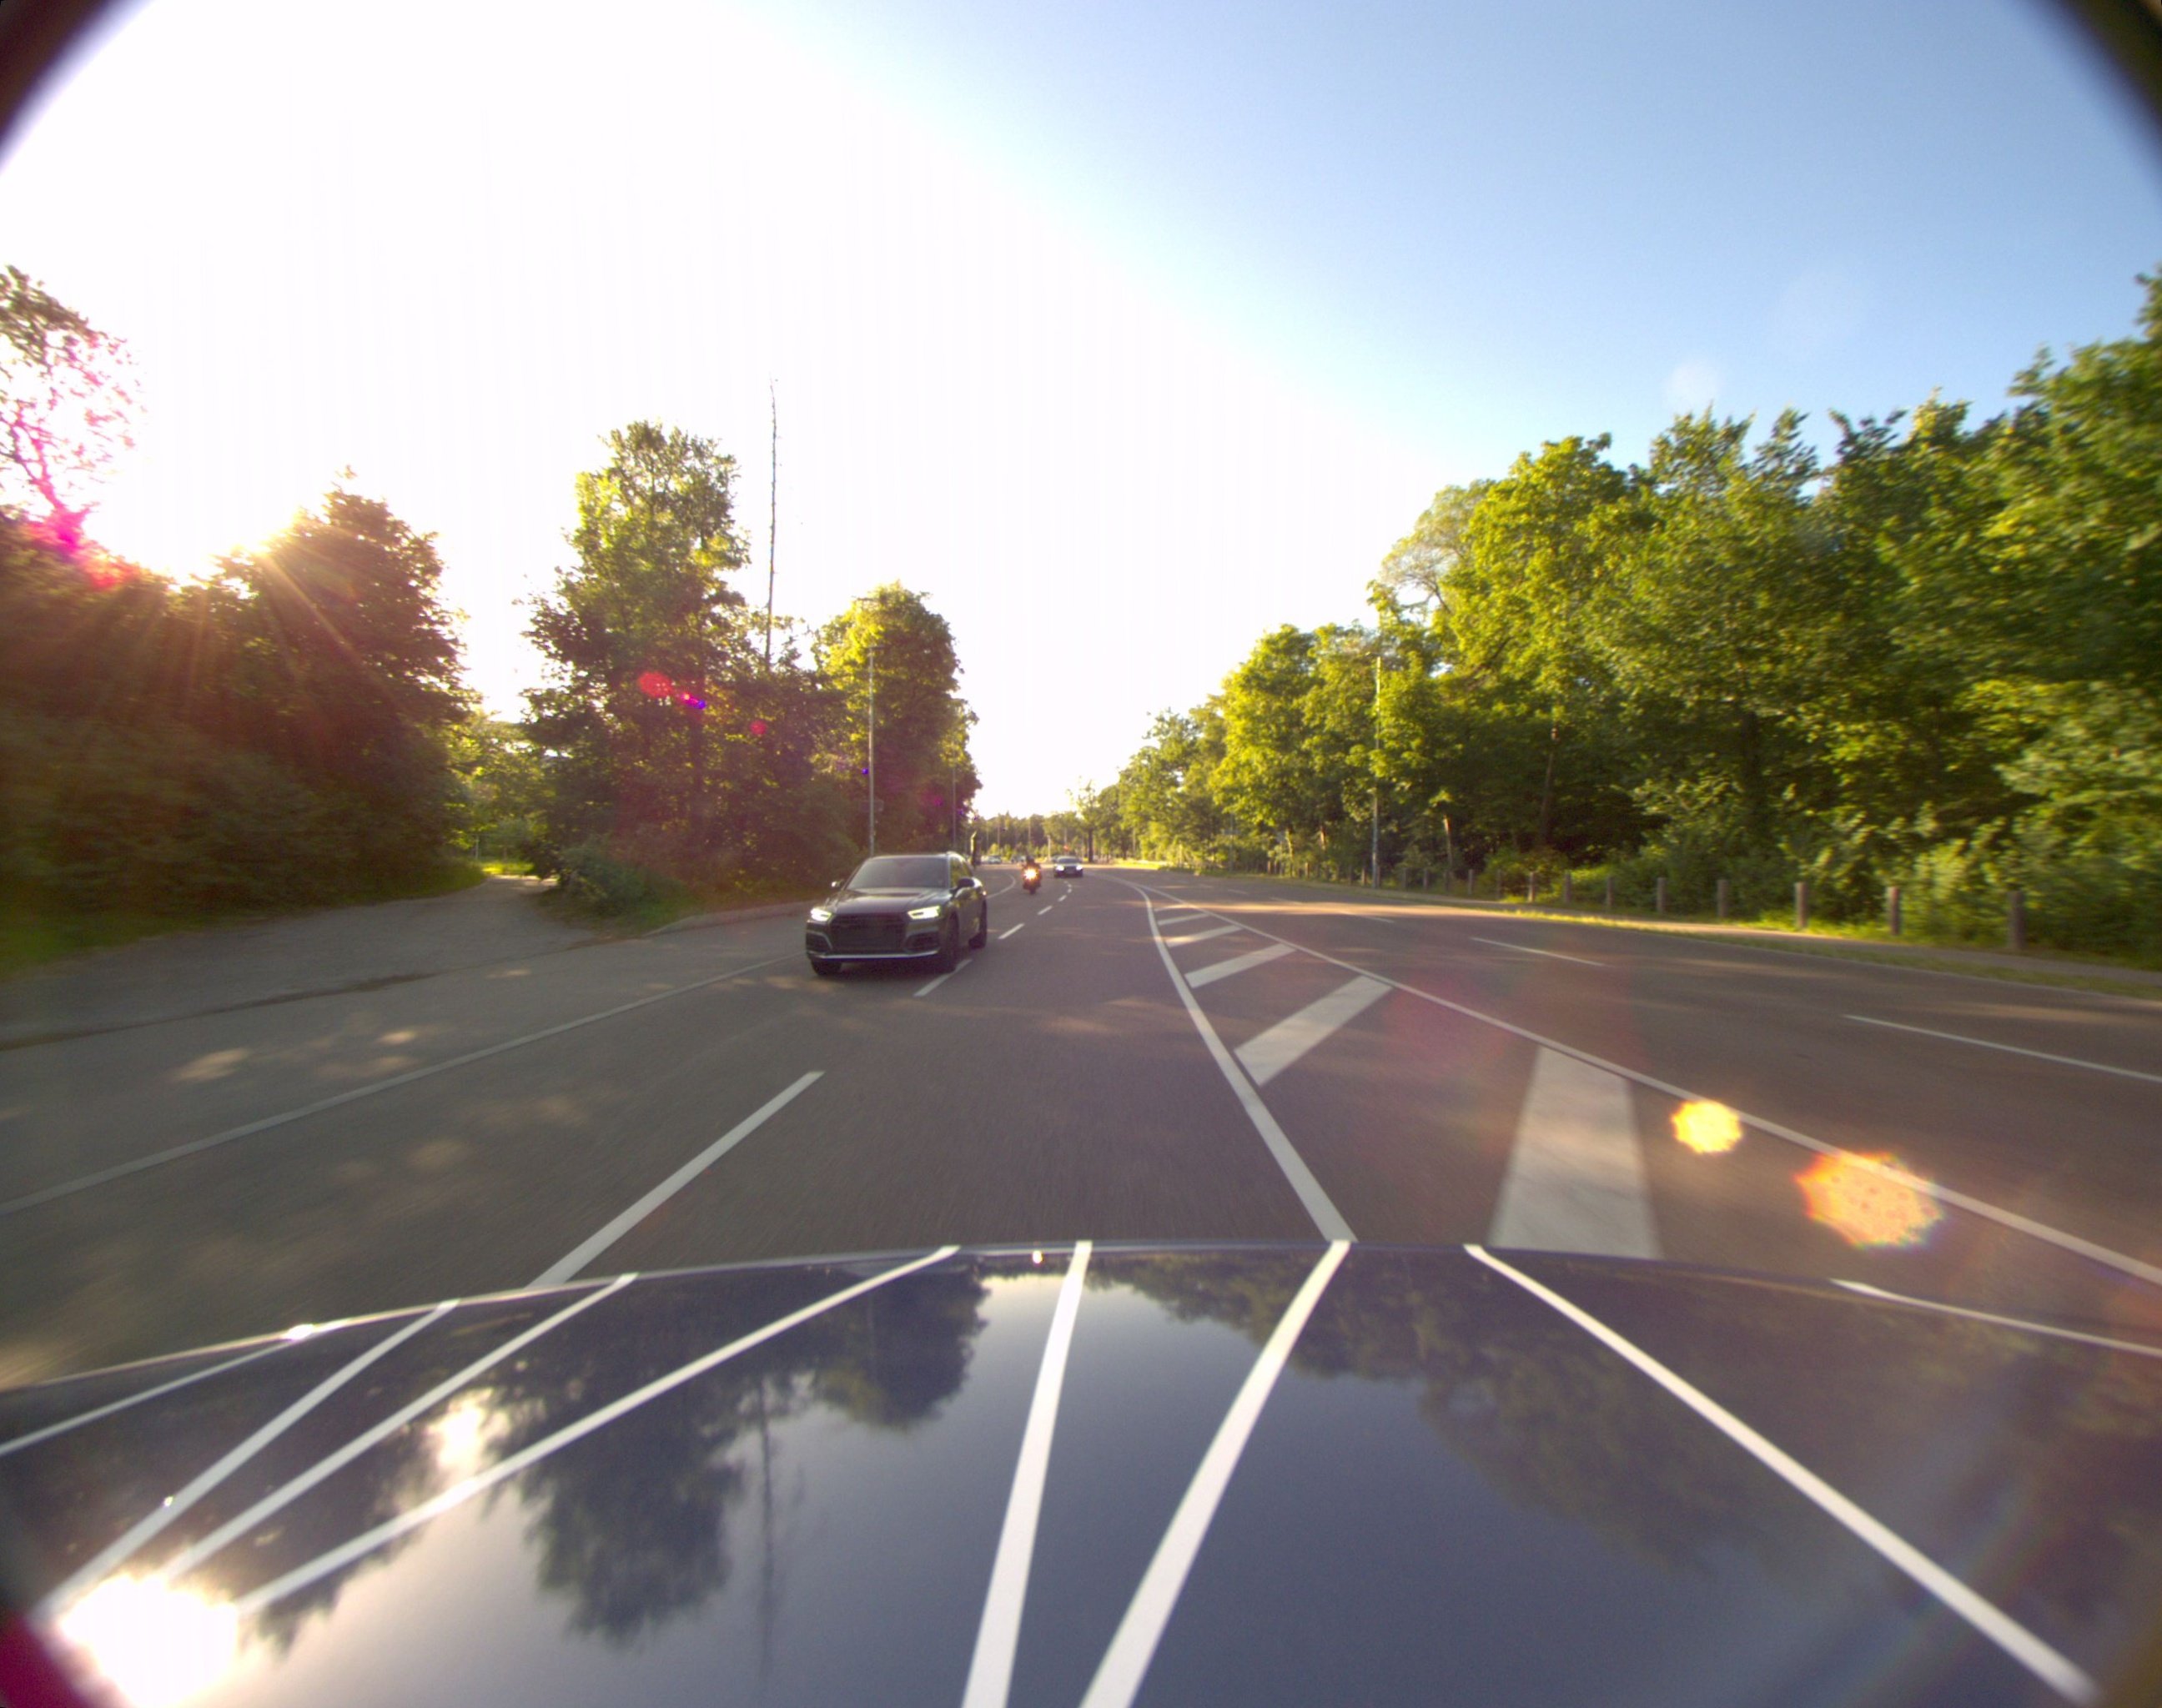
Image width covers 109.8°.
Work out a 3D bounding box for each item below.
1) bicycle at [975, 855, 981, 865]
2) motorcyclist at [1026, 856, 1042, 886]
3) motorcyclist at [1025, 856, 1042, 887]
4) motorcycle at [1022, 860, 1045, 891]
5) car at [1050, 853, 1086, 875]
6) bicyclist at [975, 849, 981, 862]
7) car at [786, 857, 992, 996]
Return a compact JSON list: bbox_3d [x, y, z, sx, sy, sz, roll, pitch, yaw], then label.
[{"bbox_3d":[-11.475,0.673,84.787,0.556,1.130,1.862,0,1,-12],"label":"bicycle"},{"bbox_3d":[-2.081,0.739,33.656,0.671,1.257,0.825,-2,1,-3],"label":"motorcyclist"},{"bbox_3d":[-2.054,0.750,32.810,0.671,1.257,0.825,-2,1,-3],"label":"motorcyclist"},{"bbox_3d":[-2.054,0.910,33.044,0.916,1.243,2.962,-2,0,-3],"label":"motorcycle"},{"bbox_3d":[-0.996,0.698,55.564,1.869,1.538,4.792,-1,0,-10],"label":"car"},{"bbox_3d":[-11.489,0.127,84.823,0.522,1.460,0.860,-1,1,-12],"label":"bicyclist"},{"bbox_3d":[-2.607,0.895,11.539,1.898,1.596,4.544,-2,0,0],"label":"car"}]
